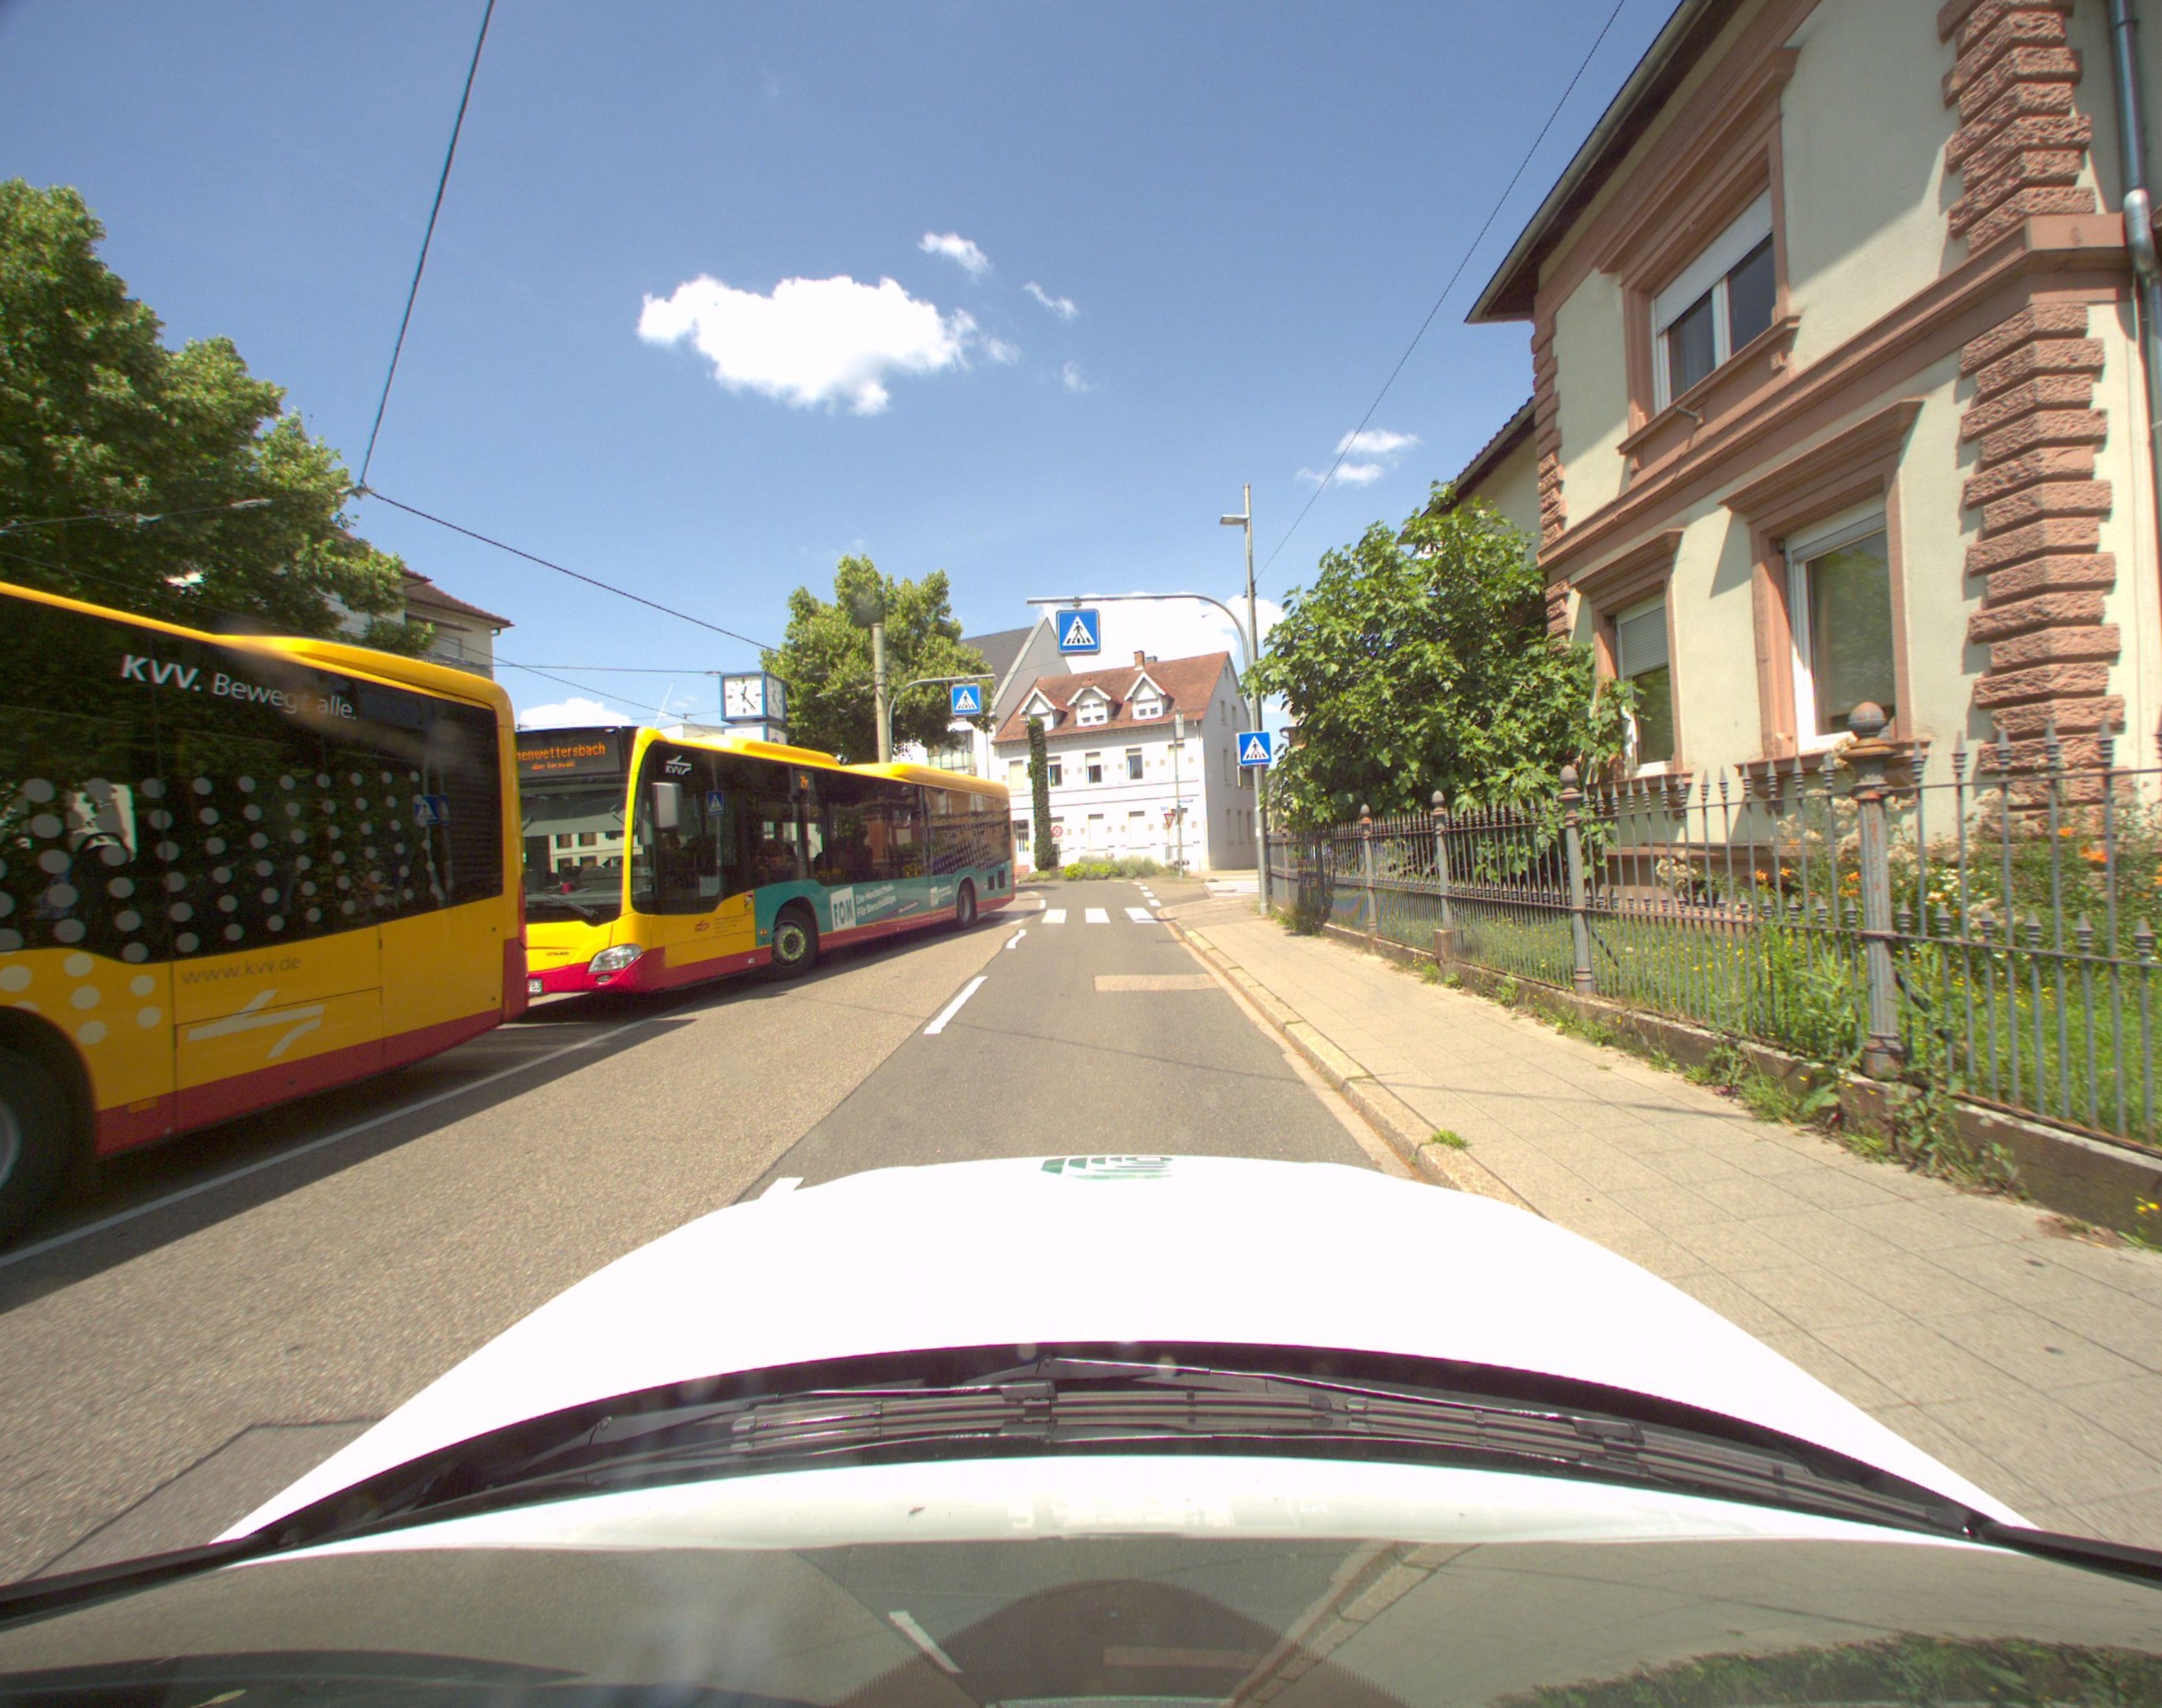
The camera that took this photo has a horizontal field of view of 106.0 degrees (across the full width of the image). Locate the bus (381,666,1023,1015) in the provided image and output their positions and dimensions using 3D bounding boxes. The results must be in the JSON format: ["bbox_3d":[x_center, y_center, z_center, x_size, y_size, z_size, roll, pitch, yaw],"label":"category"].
[{"bbox_3d":[-4.148,-0.212,13.786,2.760,3.208,12.351,-1,1,13],"label":"bus"}]

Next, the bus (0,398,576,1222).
[{"bbox_3d":[-5.744,-0.170,0.677,2.897,3.248,12.119,-1,0,1],"label":"bus"}]

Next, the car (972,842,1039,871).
[{"bbox_3d":[-4.378,0.174,47.168,3.571,1.586,1.594,-2,-2,32],"label":"car"}]
